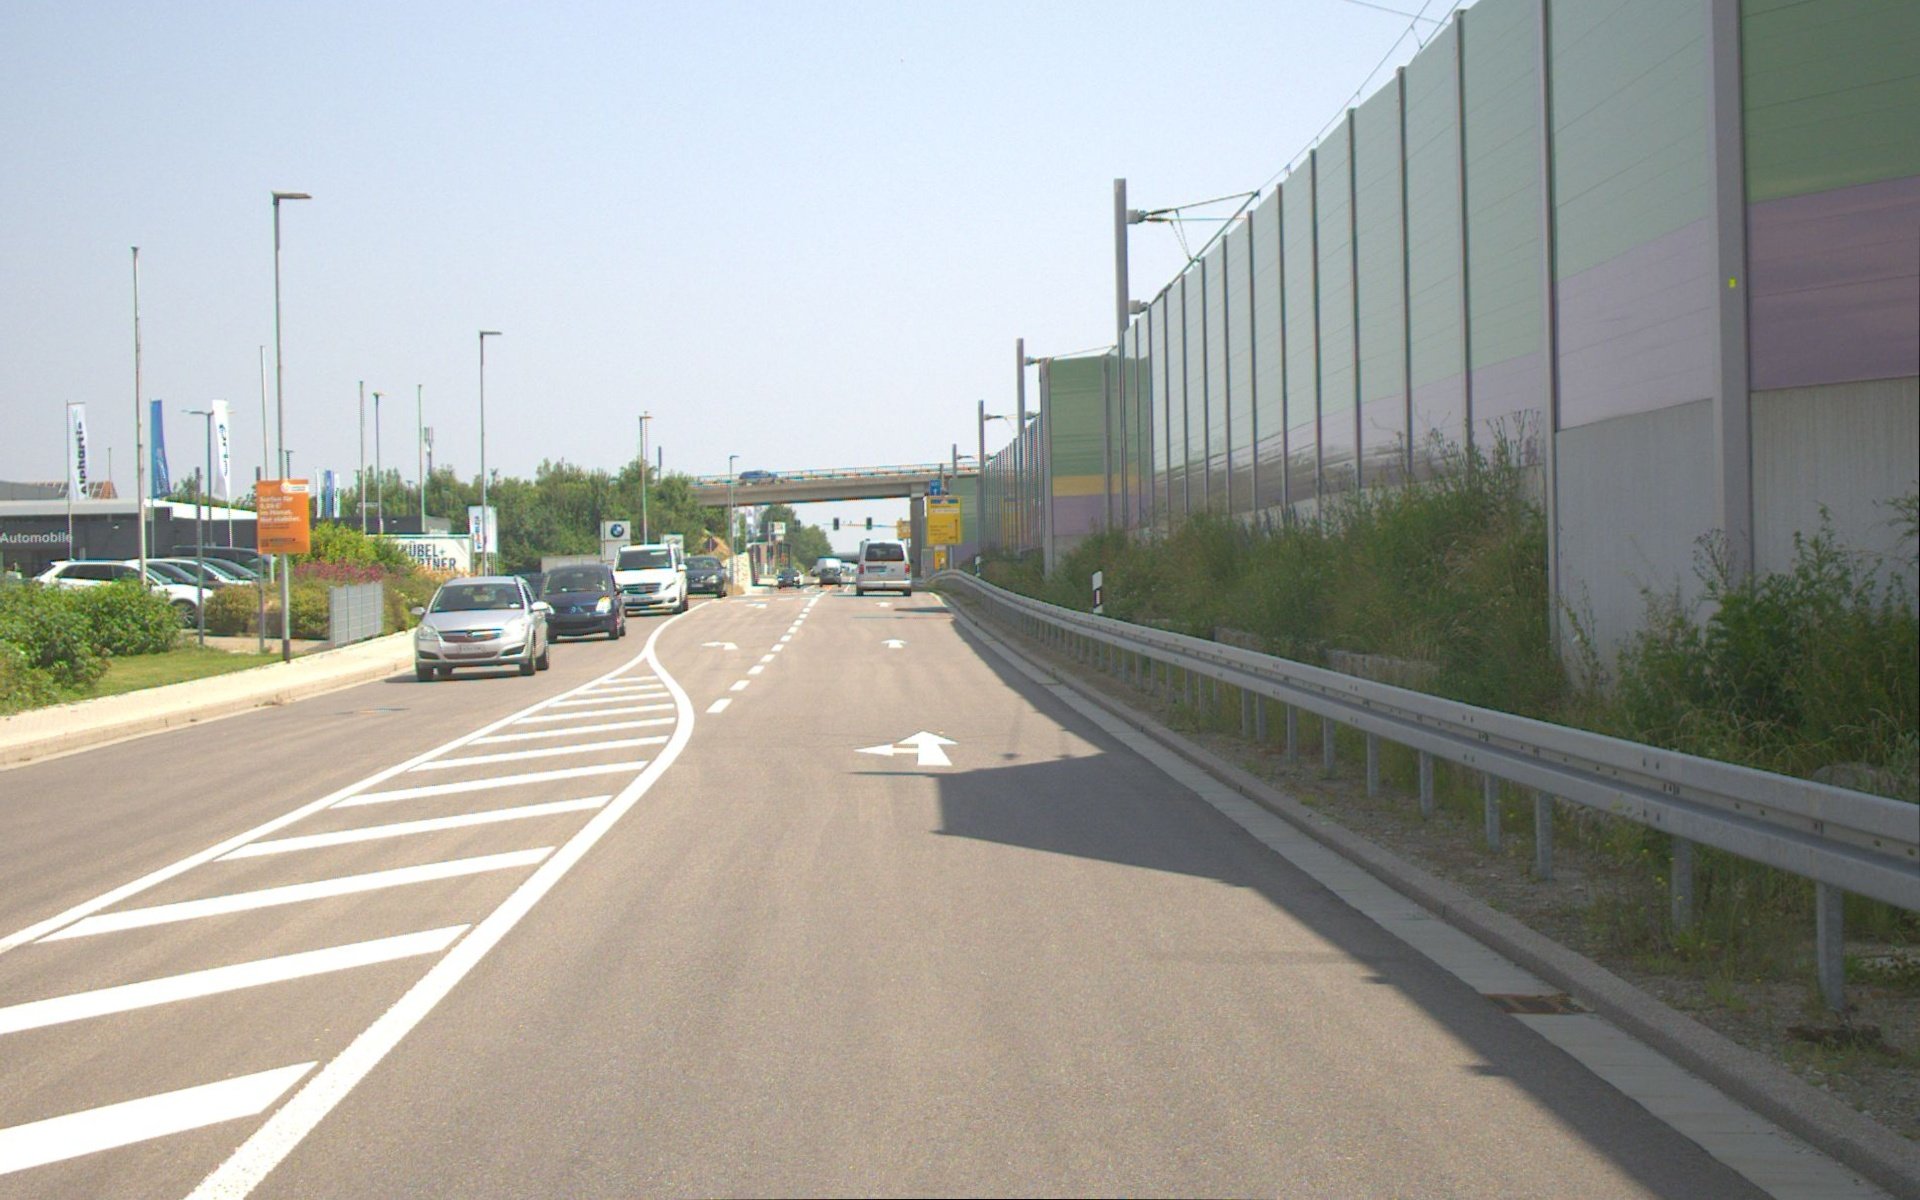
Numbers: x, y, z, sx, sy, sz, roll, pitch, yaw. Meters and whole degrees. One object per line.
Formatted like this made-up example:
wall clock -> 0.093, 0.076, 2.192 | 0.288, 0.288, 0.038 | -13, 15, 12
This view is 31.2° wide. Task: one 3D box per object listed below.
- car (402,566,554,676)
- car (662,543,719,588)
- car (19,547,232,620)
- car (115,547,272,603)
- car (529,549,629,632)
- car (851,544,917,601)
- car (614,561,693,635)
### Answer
car -> -7.121, 0.276, 51.089 | 1.764, 1.461, 4.260 | -3, 1, -2
car -> -9.039, -1.176, 115.436 | 1.670, 1.418, 4.000 | -2, 1, -2
car -> -18.163, -0.367, 74.980 | 4.223, 1.451, 1.764 | 2, 1, -3
car -> -18.712, -0.620, 83.964 | 3.509, 1.250, 1.505 | 2, 1, -3
car -> -7.894, -0.212, 71.431 | 1.668, 1.594, 3.973 | -3, 1, -2
car -> -2.422, -0.887, 110.527 | 1.993, 1.751, 4.000 | -1, 1, 0
car -> -8.259, -0.064, 92.847 | 1.993, 1.867, 5.170 | -2, 1, -4
